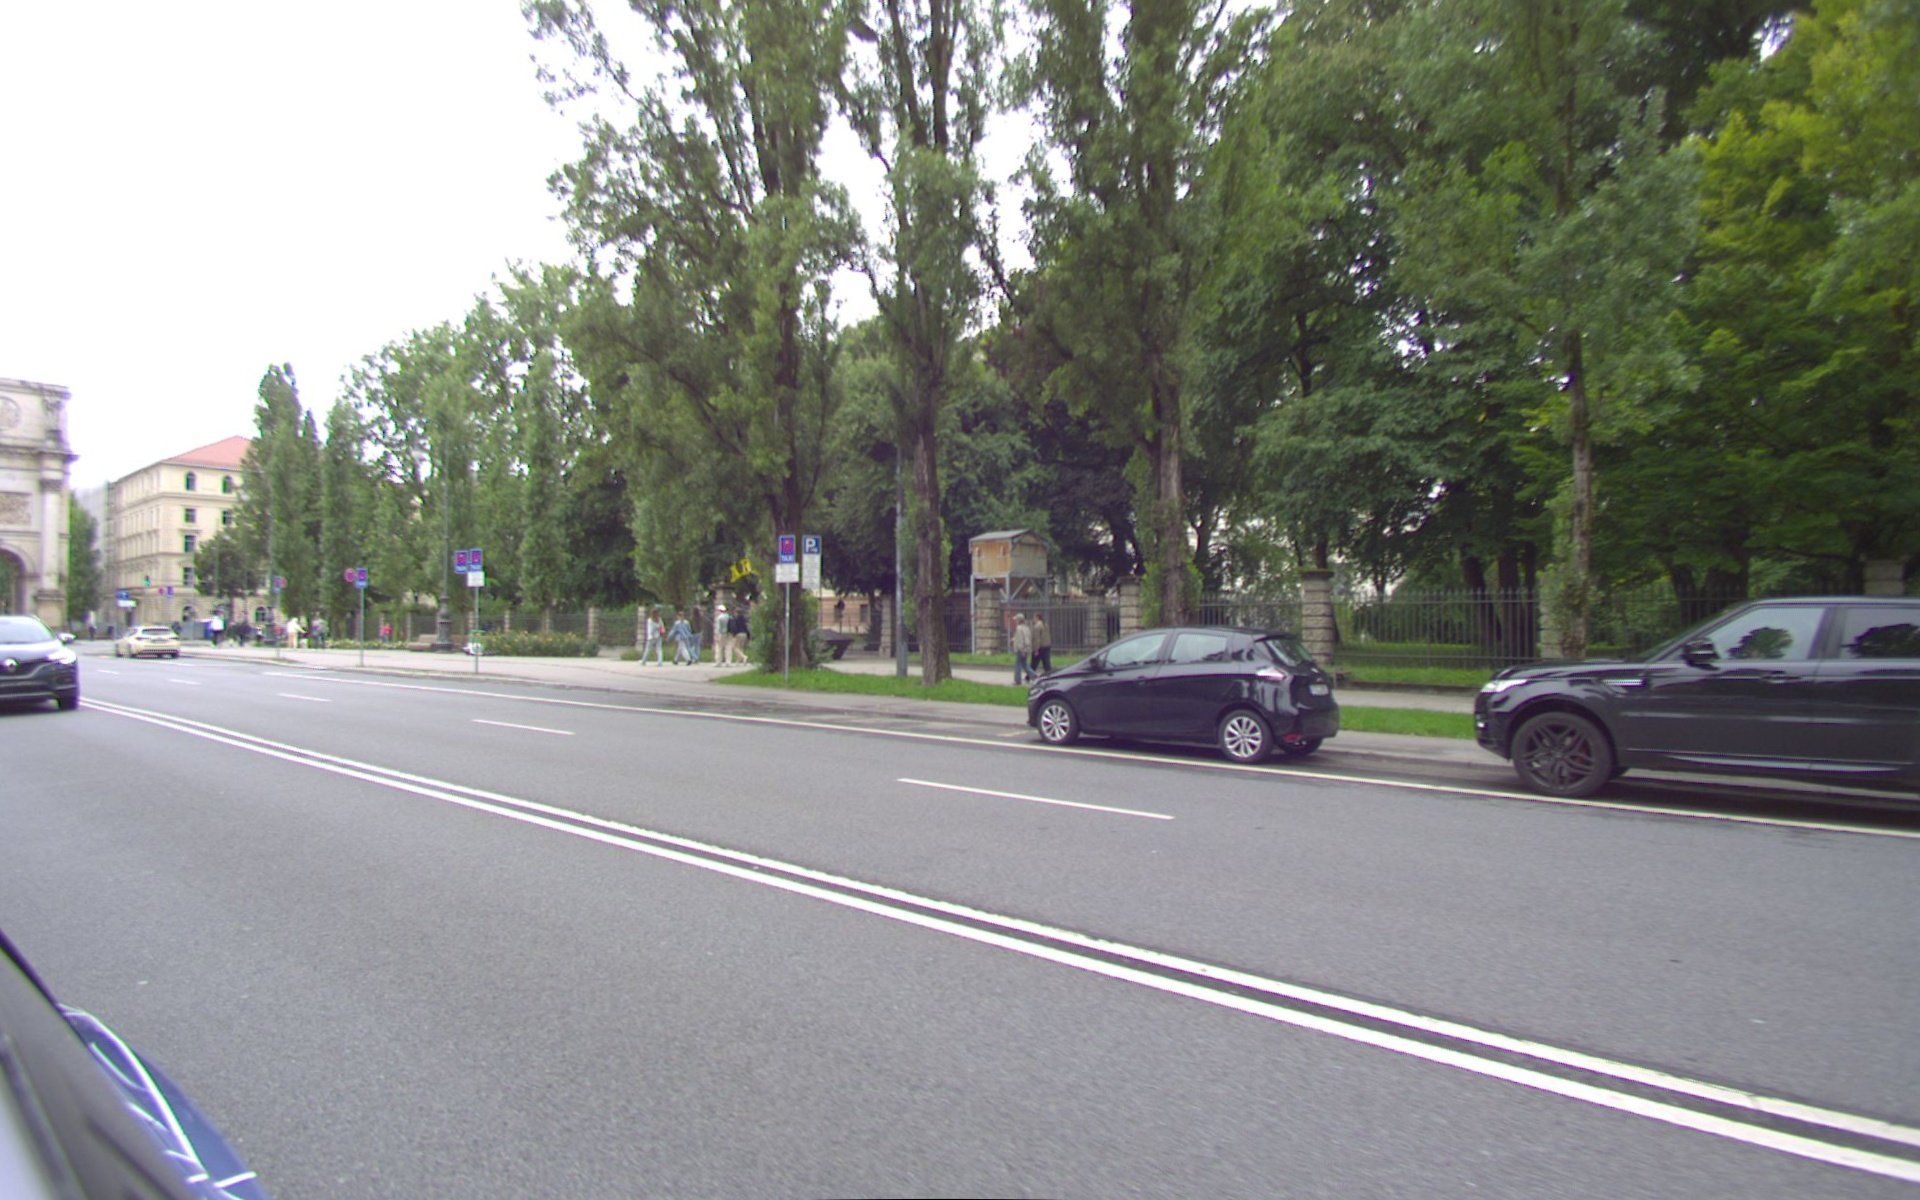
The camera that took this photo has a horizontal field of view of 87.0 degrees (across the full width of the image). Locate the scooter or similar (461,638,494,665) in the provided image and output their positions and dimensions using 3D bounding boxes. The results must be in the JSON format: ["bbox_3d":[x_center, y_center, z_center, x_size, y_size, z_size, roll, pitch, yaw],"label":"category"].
[{"bbox_3d":[-21.591,2.296,45.261,1.413,1.187,0.738,-2,-4,36],"label":"scooter or similar"}]

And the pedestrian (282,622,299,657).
[{"bbox_3d":[-33.763,2.000,51.043,0.581,1.744,0.527,-1,-2,29],"label":"pedestrian"}]

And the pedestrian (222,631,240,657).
[{"bbox_3d":[-50.720,3.070,70.391,0.945,1.731,1.032,-1,-1,-37],"label":"pedestrian"}]

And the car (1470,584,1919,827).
[{"bbox_3d":[7.277,0.847,8.712,4.799,1.800,2.024,-2,-4,42],"label":"car"}]

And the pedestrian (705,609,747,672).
[{"bbox_3d":[-7.004,1.197,30.327,1.092,1.847,0.702,-1,-1,40],"label":"pedestrian"}]

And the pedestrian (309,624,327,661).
[{"bbox_3d":[-31.150,2.054,49.122,0.581,1.744,0.527,-1,-2,29],"label":"pedestrian"}]

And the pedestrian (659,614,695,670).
[{"bbox_3d":[-8.856,1.312,31.662,0.885,1.713,0.681,-2,-2,40],"label":"pedestrian"}]

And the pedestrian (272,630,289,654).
[{"bbox_3d":[-53.543,3.311,79.769,0.976,1.885,1.032,-1,-1,-39],"label":"pedestrian"}]

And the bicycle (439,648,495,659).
[{"bbox_3d":[-24.021,2.586,49.396,1.331,0.456,2.204,-2,-2,18],"label":"bicycle"}]

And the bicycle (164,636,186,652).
[{"bbox_3d":[-48.190,2.696,62.151,1.912,0.959,0.666,-2,-1,40],"label":"bicycle"}]

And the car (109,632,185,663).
[{"bbox_3d":[-37.024,2.181,46.061,4.463,1.347,1.774,-3,-3,39],"label":"car"}]

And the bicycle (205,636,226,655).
[{"bbox_3d":[-40.219,2.455,54.671,1.912,0.959,0.465,-2,-1,40],"label":"bicycle"}]

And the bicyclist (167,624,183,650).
[{"bbox_3d":[-48.162,2.275,62.115,0.660,1.604,0.639,-2,-1,38],"label":"bicyclist"}]

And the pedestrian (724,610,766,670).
[{"bbox_3d":[-6.557,1.219,30.893,1.092,1.786,0.702,-1,-1,40],"label":"pedestrian"}]

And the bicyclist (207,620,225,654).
[{"bbox_3d":[-40.203,1.986,54.682,0.660,1.837,0.583,-2,-1,38],"label":"bicyclist"}]

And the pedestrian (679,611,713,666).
[{"bbox_3d":[-8.400,1.231,32.215,0.910,1.729,0.653,-2,-2,40],"label":"pedestrian"}]

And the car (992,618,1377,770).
[{"bbox_3d":[2.711,1.085,12.817,4.386,1.596,1.924,-2,-4,41],"label":"car"}]

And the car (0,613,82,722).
[{"bbox_3d":[-15.963,1.070,16.537,4.182,1.598,1.817,-2,0,40],"label":"car"}]

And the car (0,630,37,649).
[{"bbox_3d":[-88.354,3.681,93.689,3.944,1.763,1.999,0,-2,1],"label":"car"}]

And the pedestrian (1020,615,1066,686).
[{"bbox_3d":[1.934,1.159,23.572,0.812,1.617,0.711,-2,-2,39],"label":"pedestrian"}]

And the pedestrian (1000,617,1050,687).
[{"bbox_3d":[1.484,1.171,23.003,0.875,1.560,0.711,-2,-2,39],"label":"pedestrian"}]

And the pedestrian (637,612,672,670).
[{"bbox_3d":[-9.349,1.249,30.996,0.907,1.760,0.623,-2,-2,40],"label":"pedestrian"}]
